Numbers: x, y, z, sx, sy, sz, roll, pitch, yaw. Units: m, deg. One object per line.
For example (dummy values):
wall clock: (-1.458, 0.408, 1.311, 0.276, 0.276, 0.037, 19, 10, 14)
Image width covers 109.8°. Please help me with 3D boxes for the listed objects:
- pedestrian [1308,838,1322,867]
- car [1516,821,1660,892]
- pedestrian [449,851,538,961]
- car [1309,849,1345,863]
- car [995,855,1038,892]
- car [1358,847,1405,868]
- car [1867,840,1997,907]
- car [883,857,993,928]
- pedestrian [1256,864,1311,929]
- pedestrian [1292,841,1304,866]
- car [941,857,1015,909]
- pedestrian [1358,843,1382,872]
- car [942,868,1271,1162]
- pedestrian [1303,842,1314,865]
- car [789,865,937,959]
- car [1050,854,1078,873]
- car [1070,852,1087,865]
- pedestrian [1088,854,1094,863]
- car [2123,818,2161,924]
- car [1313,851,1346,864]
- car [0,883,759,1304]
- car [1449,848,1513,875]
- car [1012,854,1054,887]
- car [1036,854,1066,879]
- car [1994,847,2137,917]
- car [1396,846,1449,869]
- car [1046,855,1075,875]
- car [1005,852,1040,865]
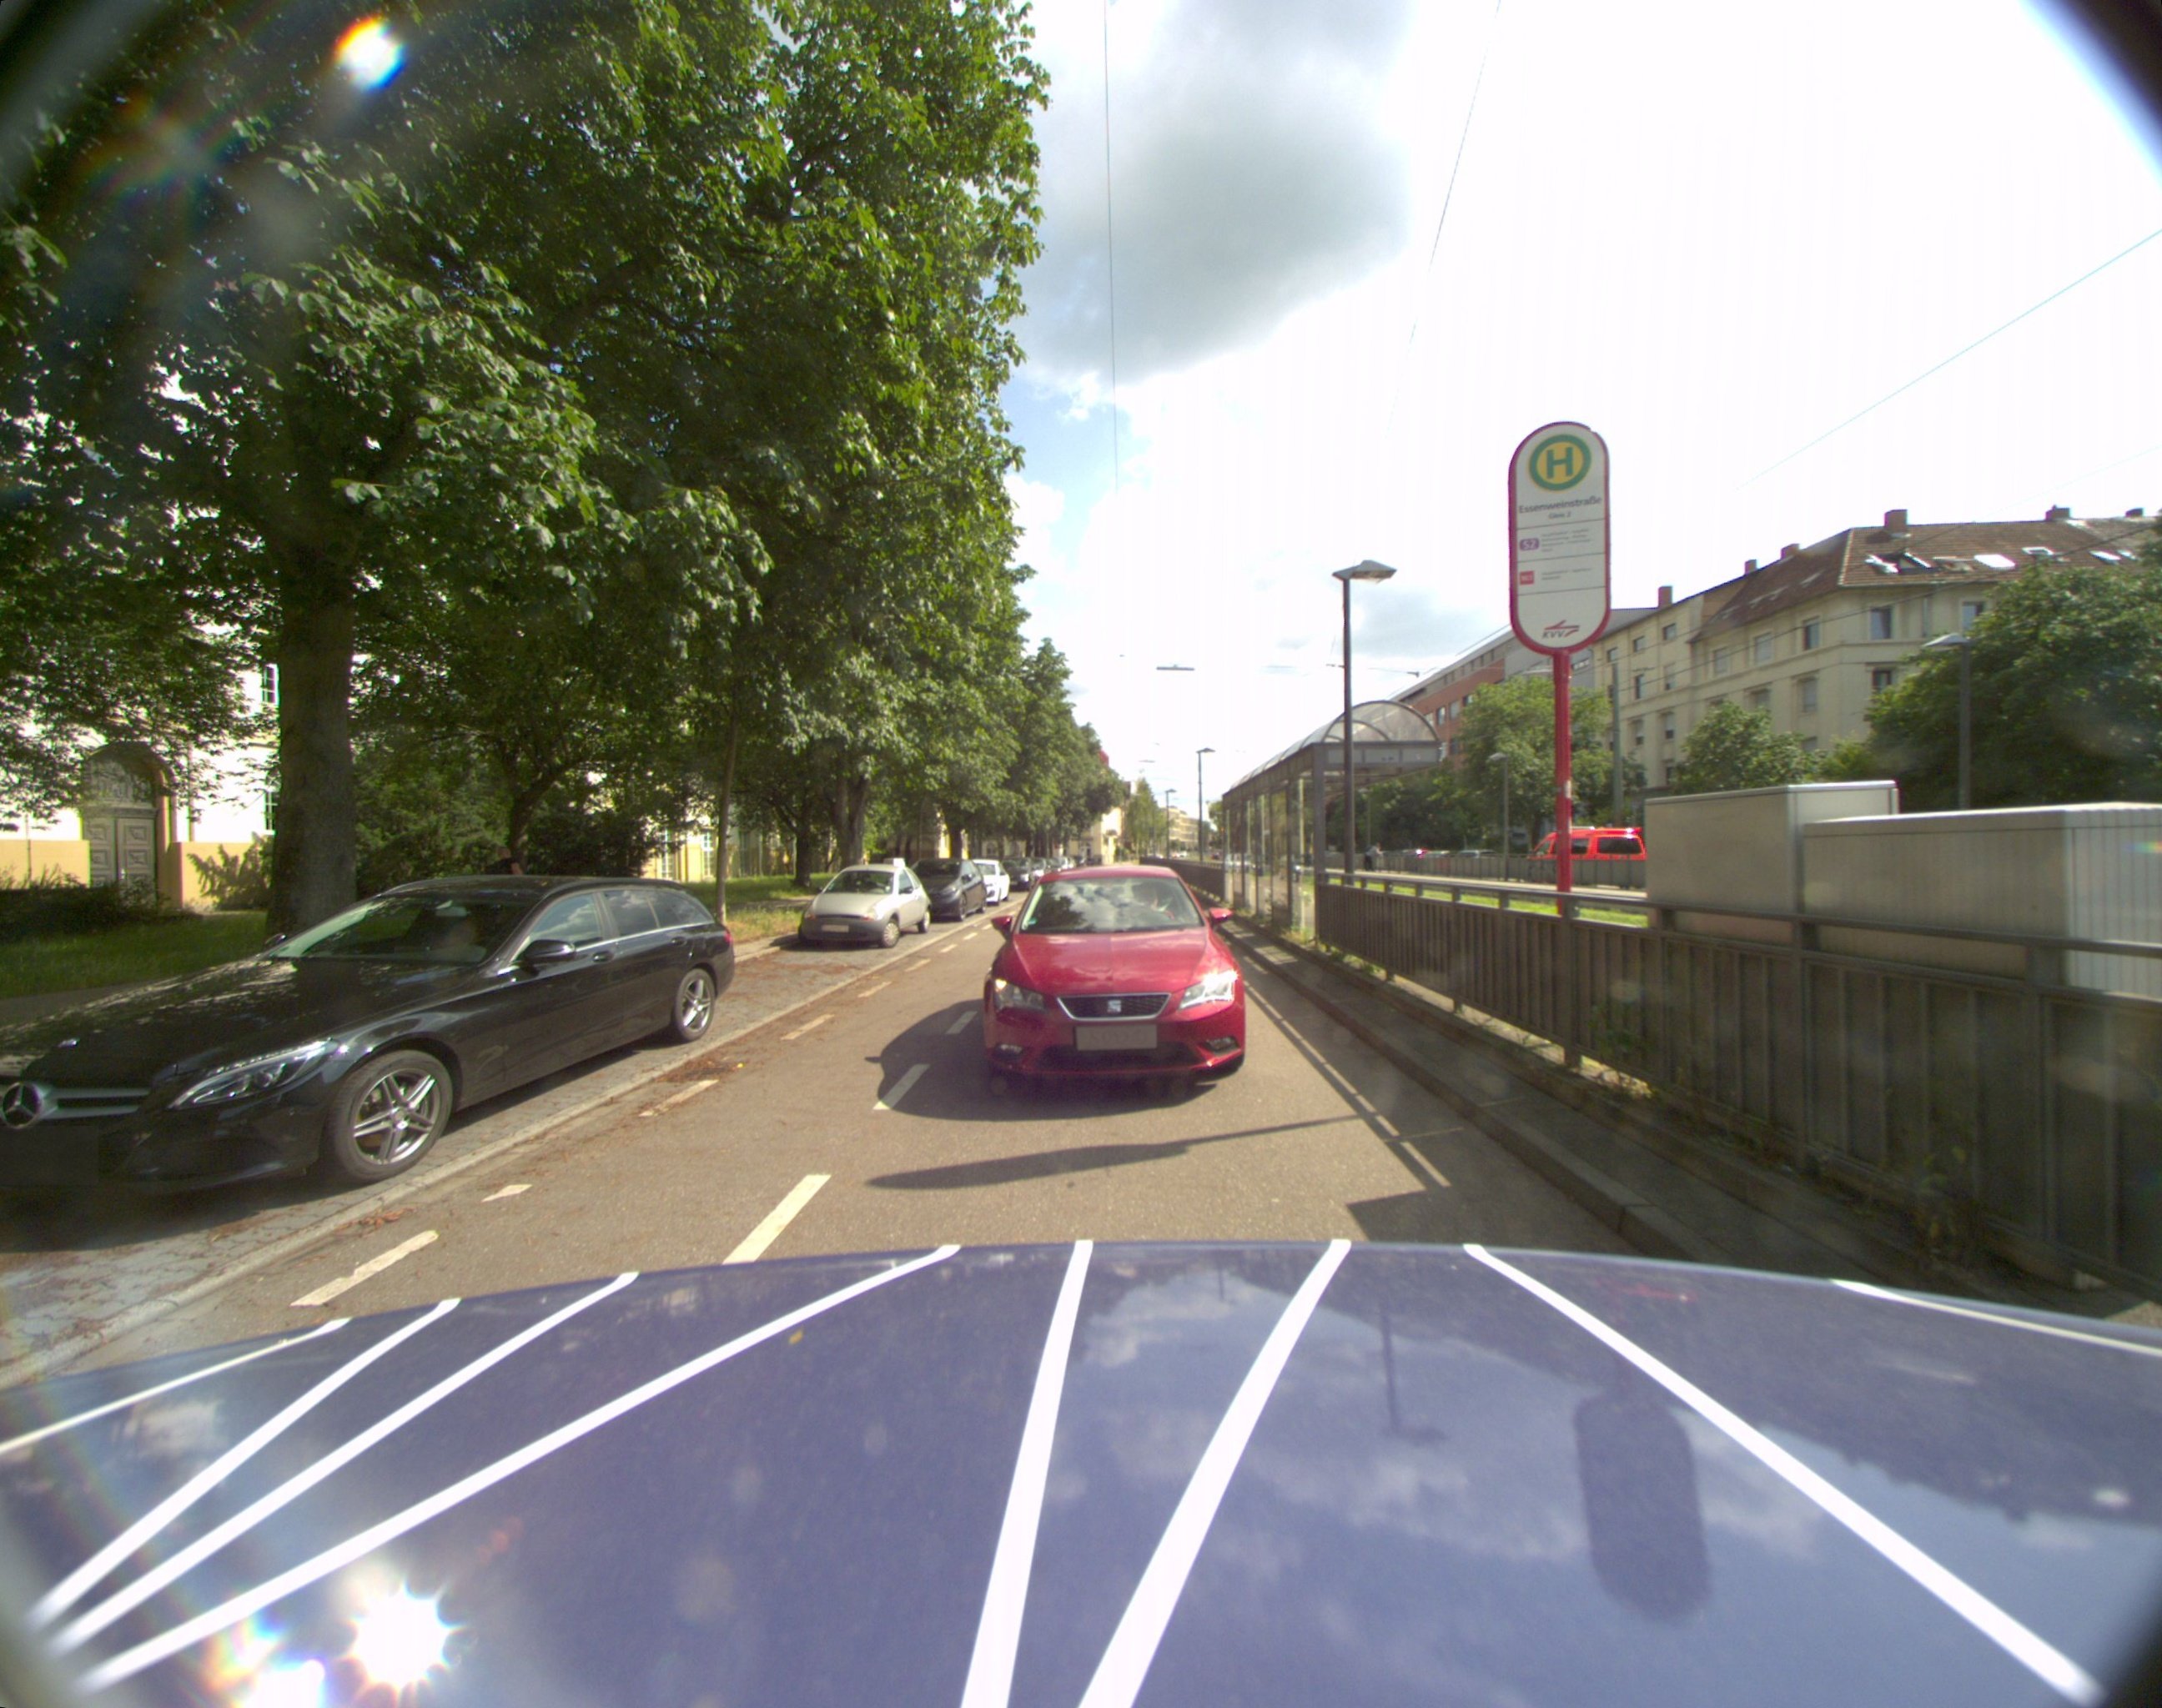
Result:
pedestrian: (15.466, -0.075, 50.217, 0.752, 1.881, 0.639, -1, 3, 5)
car: (17.875, 0.076, 27.133, 1.998, 2.262, 4.834, 1, 0, 2)
pedestrian: (-9.354, 0.802, 12.117, 0.745, 1.686, 0.767, -1, 1, 9)
car: (27.145, 0.195, 83.875, 4.007, 1.487, 1.647, -1, 0, -34)
car: (-2.834, 0.842, 34.128, 1.559, 1.453, 3.558, 2, 1, 0)
car: (25.848, 0.276, 65.322, 4.006, 1.520, 1.669, -3, 0, -34)
car: (23.371, 0.495, 20.834, 4.007, 1.630, 1.823, -1, -1, -34)
car: (-3.570, 0.894, 19.806, 1.729, 1.574, 4.678, 0, 0, 3)
pedestrian: (3.462, 0.706, 12.958, 0.662, 1.066, 0.725, -1, 0, 37)
pedestrian: (15.690, -0.024, 54.911, 0.607, 1.744, 0.626, 0, 2, 43)
car: (-3.350, 0.882, 25.403, 1.840, 1.515, 4.253, 1, 0, 0)
pedestrian: (15.700, 0.171, 41.277, 0.991, 1.569, 0.798, -1, 1, 0)
car: (0.233, 0.952, 6.265, 1.790, 1.499, 4.000, -2, 0, 3)
pedestrian: (16.397, -0.046, 54.796, 0.608, 1.665, 0.625, -1, 2, 3)
car: (-3.964, 0.992, 14.408, 1.594, 1.437, 3.598, 1, 1, 3)
car: (-1.339, 0.717, 62.040, 1.833, 1.433, 5.050, 2, 0, 3)
car: (-0.277, 0.540, 89.270, 1.689, 1.379, 3.924, 0, 1, 3)
pedestrian: (1.521, 0.635, 112.901, 0.804, 1.238, 0.892, -1, 2, 5)
car: (22.930, 0.287, 15.133, 3.957, 2.058, 2.045, -1, 0, -28)
car: (26.284, 0.411, 80.313, 3.258, 1.296, 1.600, -1, 0, -32)
car: (-4.346, 1.039, 5.412, 1.922, 1.433, 4.797, 1, 0, 2)
car: (24.795, 0.437, 47.071, 4.161, 1.556, 1.921, -1, 1, -38)
car: (-2.428, 0.807, 39.311, 1.694, 1.552, 4.308, 2, 0, 3)
car: (-1.947, 0.788, 50.902, 1.836, 1.458, 4.829, 1, 1, -1)
car: (23.521, 0.596, 18.129, 4.006, 1.477, 1.606, -1, 0, -30)
car: (25.519, 0.226, 56.719, 4.144, 1.630, 1.829, -1, 1, -37)
car: (-1.482, 0.809, 56.832, 1.639, 1.423, 4.016, 2, 0, 5)
car: (-8.590, 0.685, 111.403, 4.827, 1.646, 1.858, -1, 2, 13)
